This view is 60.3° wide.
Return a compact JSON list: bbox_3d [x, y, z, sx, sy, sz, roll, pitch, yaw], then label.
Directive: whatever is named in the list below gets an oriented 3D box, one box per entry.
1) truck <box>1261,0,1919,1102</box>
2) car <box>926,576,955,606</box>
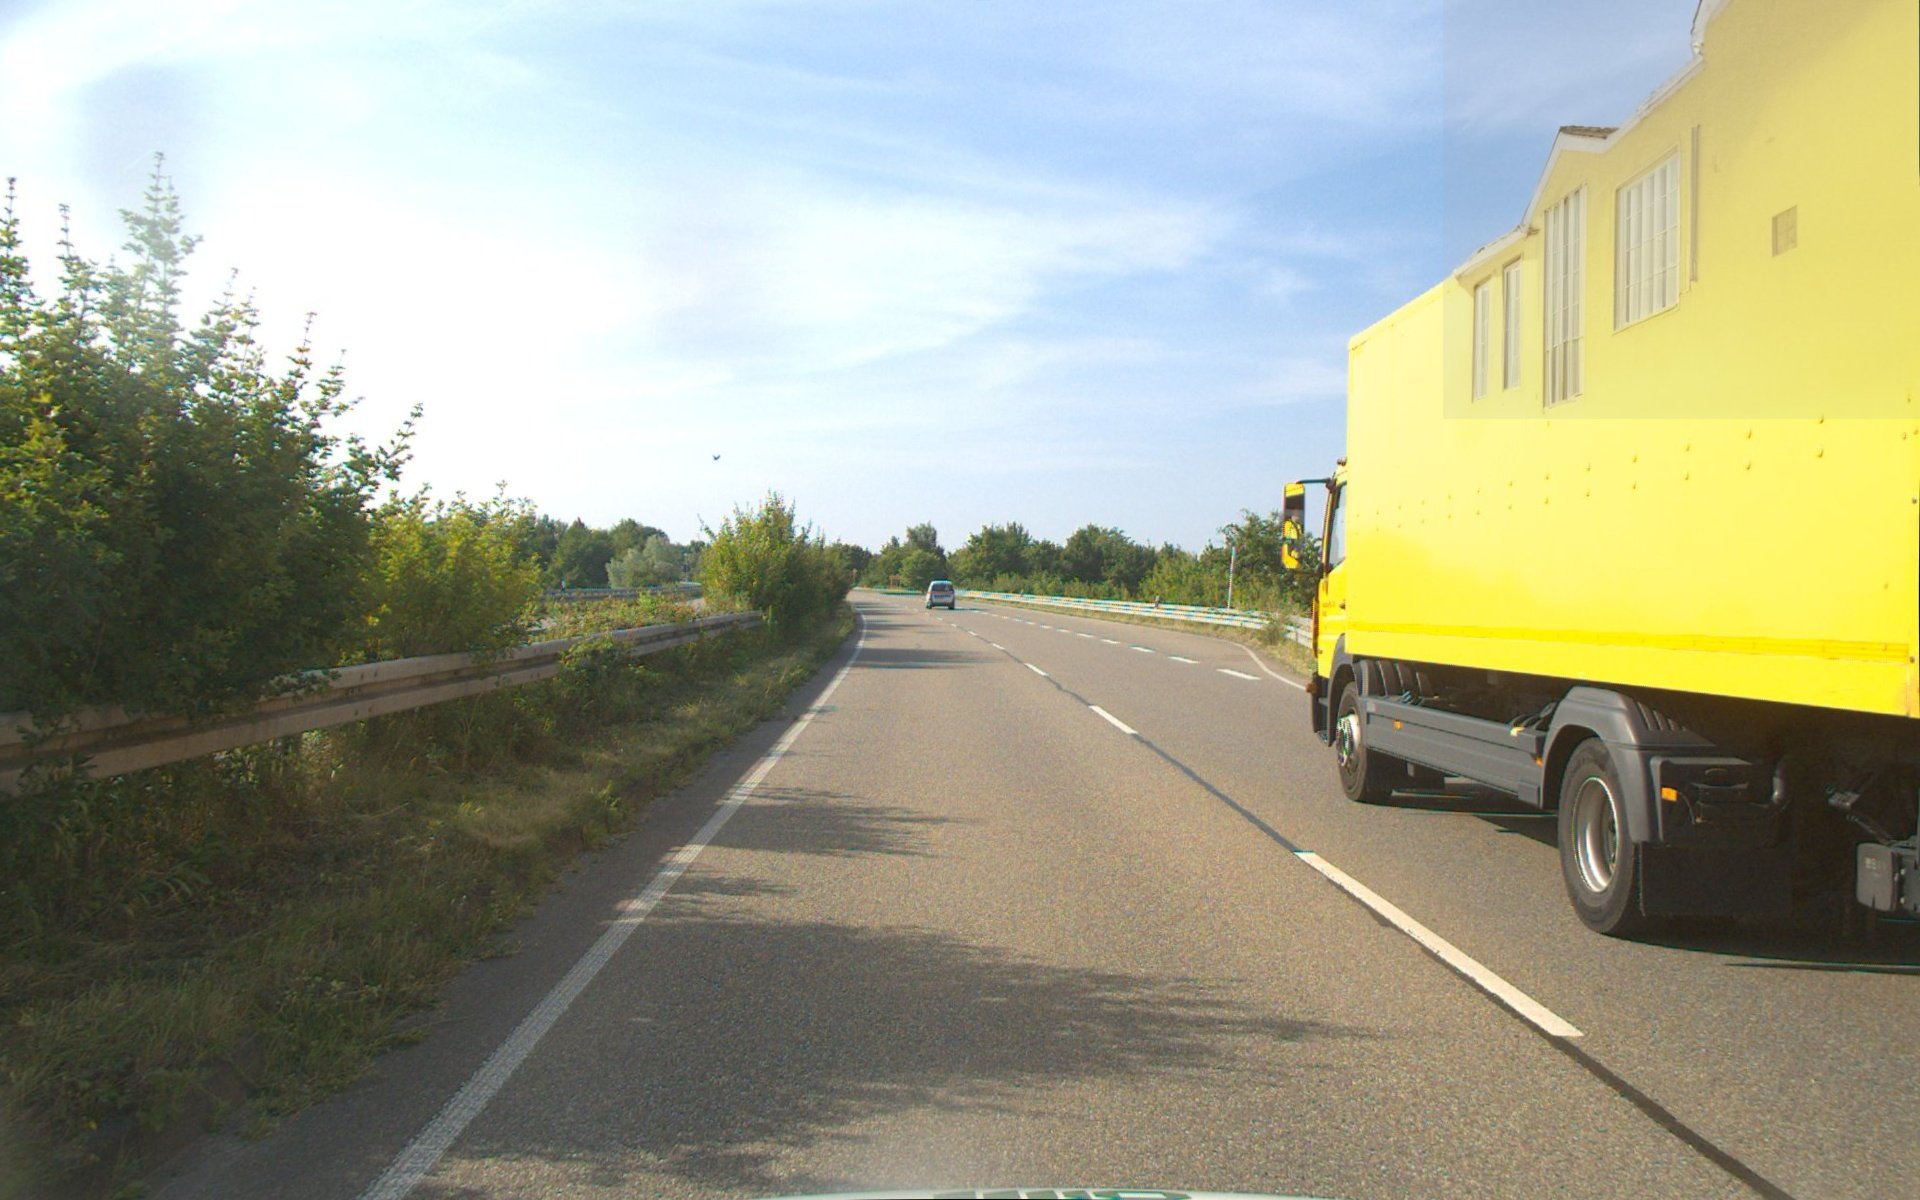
[{"bbox_3d":[4.211,-0.211,10.013,2.722,3.374,10.488,1,1,-1],"label":"truck"},{"bbox_3d":[-1.303,-0.559,107.652,1.730,1.915,3.998,1,0,-3],"label":"car"}]
